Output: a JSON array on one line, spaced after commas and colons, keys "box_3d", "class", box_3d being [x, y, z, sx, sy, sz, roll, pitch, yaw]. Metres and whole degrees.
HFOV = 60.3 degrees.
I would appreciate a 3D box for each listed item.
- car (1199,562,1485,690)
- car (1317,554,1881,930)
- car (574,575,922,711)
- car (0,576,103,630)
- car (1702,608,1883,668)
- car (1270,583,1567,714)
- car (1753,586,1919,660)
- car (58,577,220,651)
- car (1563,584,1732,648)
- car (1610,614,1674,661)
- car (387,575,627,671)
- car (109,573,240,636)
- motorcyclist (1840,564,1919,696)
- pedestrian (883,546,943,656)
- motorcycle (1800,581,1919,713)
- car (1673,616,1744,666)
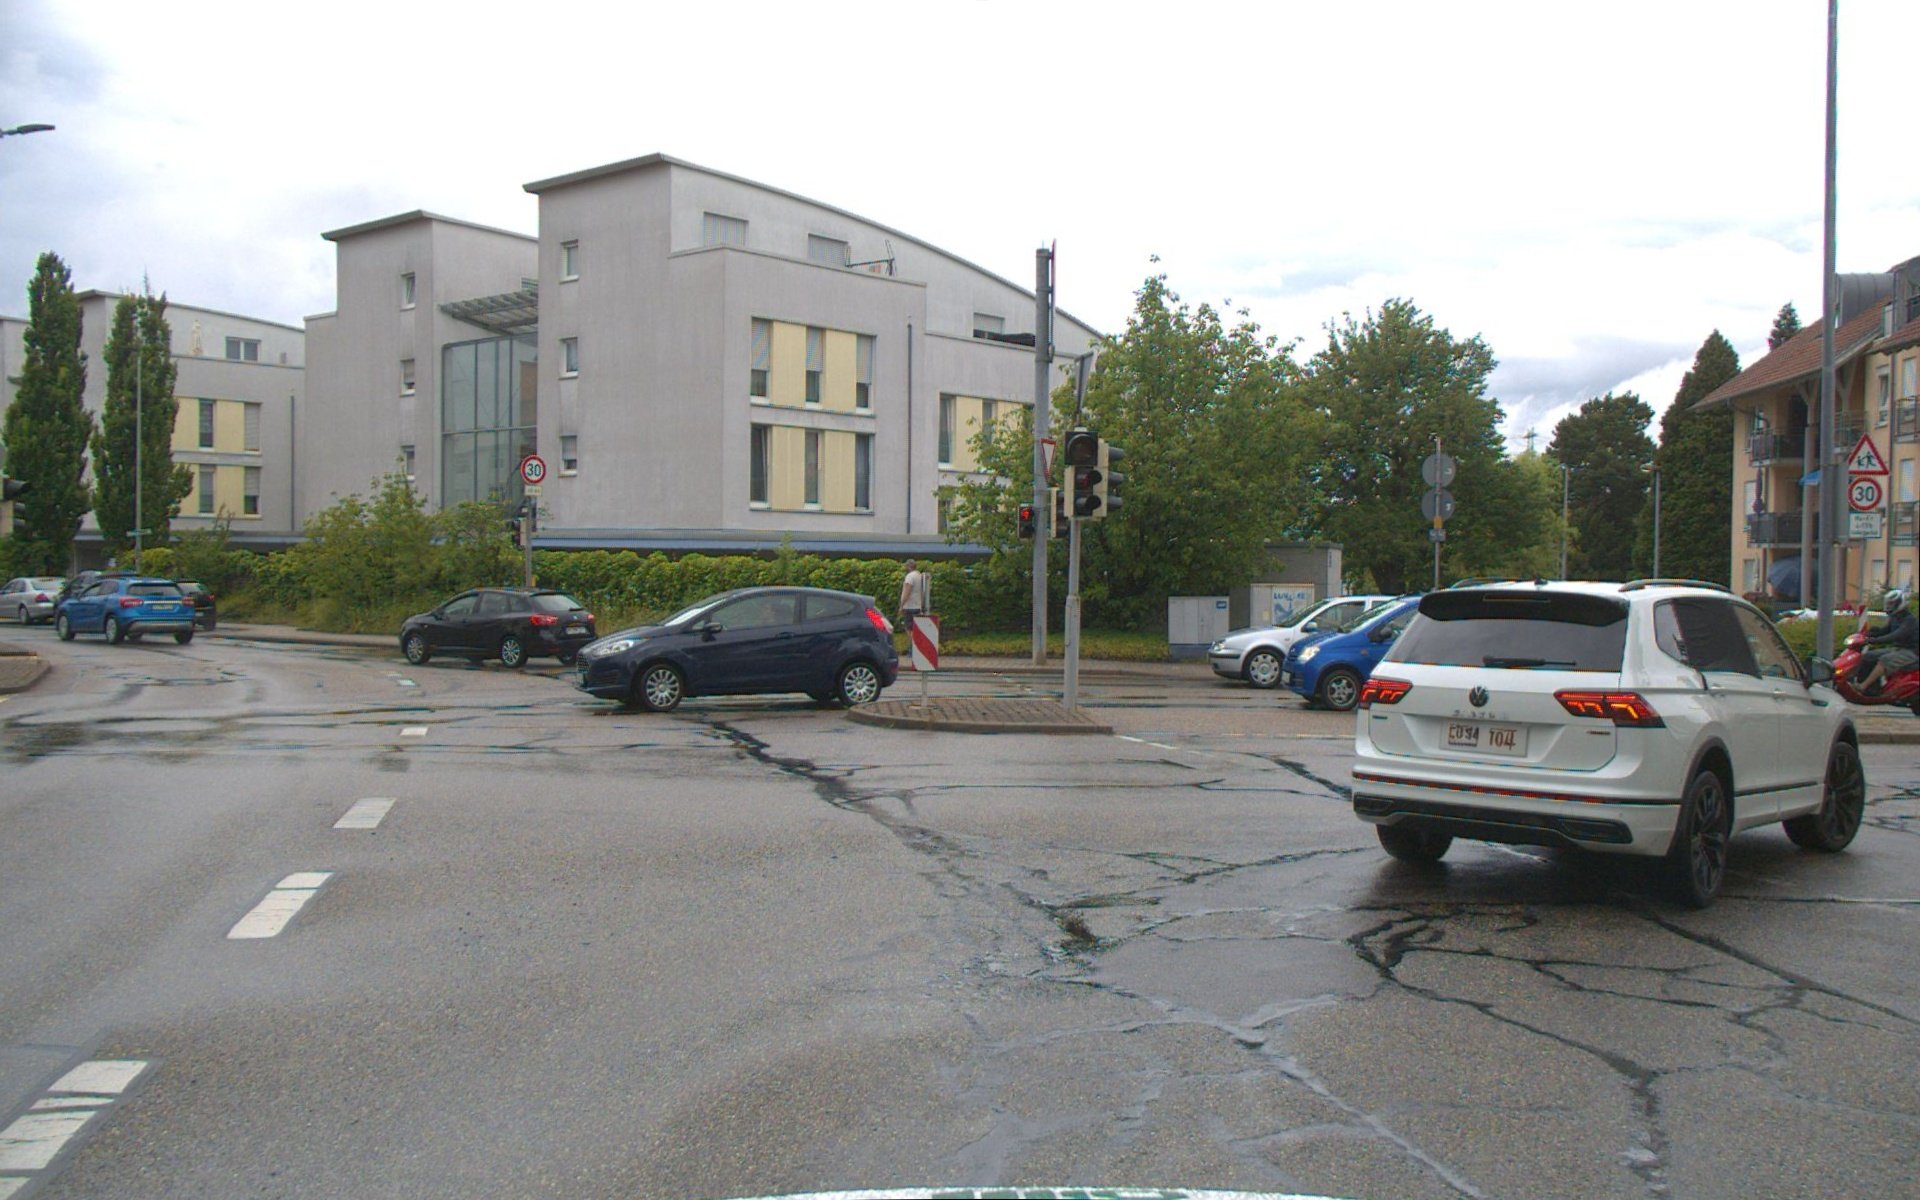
[{"box_3d": [5.886, 0.372, 25.838, 3.907, 1.698, 2.000, 2, 4, -3], "class": "car"}, {"box_3d": [4.045, 0.643, 10.036, 1.892, 1.752, 4.241, 2, 1, 40], "class": "car"}, {"box_3d": [-2.631, 0.507, 20.317, 3.928, 1.527, 1.915, 1, 1, -20], "class": "car"}, {"box_3d": [-28.991, 0.059, 52.464, 3.930, 1.582, 1.988, 1, 3, 43], "class": "car"}, {"box_3d": [20.866, 0.935, 41.607, 3.767, 1.432, 1.768, 0, 1, 14], "class": "car"}, {"box_3d": [5.817, 0.595, 21.244, 3.358, 1.481, 1.525, 2, 2, 0], "class": "car"}, {"box_3d": [19.163, 0.484, 34.890, 4.100, 1.464, 1.824, 1, 0, 15], "class": "car"}, {"box_3d": [-19.357, 0.282, 38.955, 3.925, 1.582, 1.990, 1, 3, 40], "class": "car"}, {"box_3d": [28.366, 0.627, 68.493, 5.873, 2.238, 2.856, 3, 2, 9], "class": "car"}, {"box_3d": [23.219, 1.249, 56.406, 1.724, 1.432, 3.864, 0, 1, 19], "class": "car"}, {"box_3d": [-8.377, 0.374, 30.635, 3.907, 1.578, 1.999, 1, 3, 24], "class": "car"}, {"box_3d": [-21.975, 0.084, 46.208, 3.930, 1.582, 1.988, 1, 3, 43], "class": "car"}, {"box_3d": [11.874, 0.368, 21.105, 0.916, 1.653, 0.773, 0, 0, 7], "class": "motorcyclist"}, {"box_3d": [-0.877, 0.001, 31.191, 0.786, 2.048, 0.846, 1, 2, 36], "class": "pedestrian"}, {"box_3d": [11.862, 0.585, 21.116, 1.875, 1.653, 0.798, 0, 0, 7], "class": "motorcycle"}, {"box_3d": [24.245, 1.304, 53.678, 1.724, 1.432, 3.864, 0, 1, 19], "class": "car"}]
